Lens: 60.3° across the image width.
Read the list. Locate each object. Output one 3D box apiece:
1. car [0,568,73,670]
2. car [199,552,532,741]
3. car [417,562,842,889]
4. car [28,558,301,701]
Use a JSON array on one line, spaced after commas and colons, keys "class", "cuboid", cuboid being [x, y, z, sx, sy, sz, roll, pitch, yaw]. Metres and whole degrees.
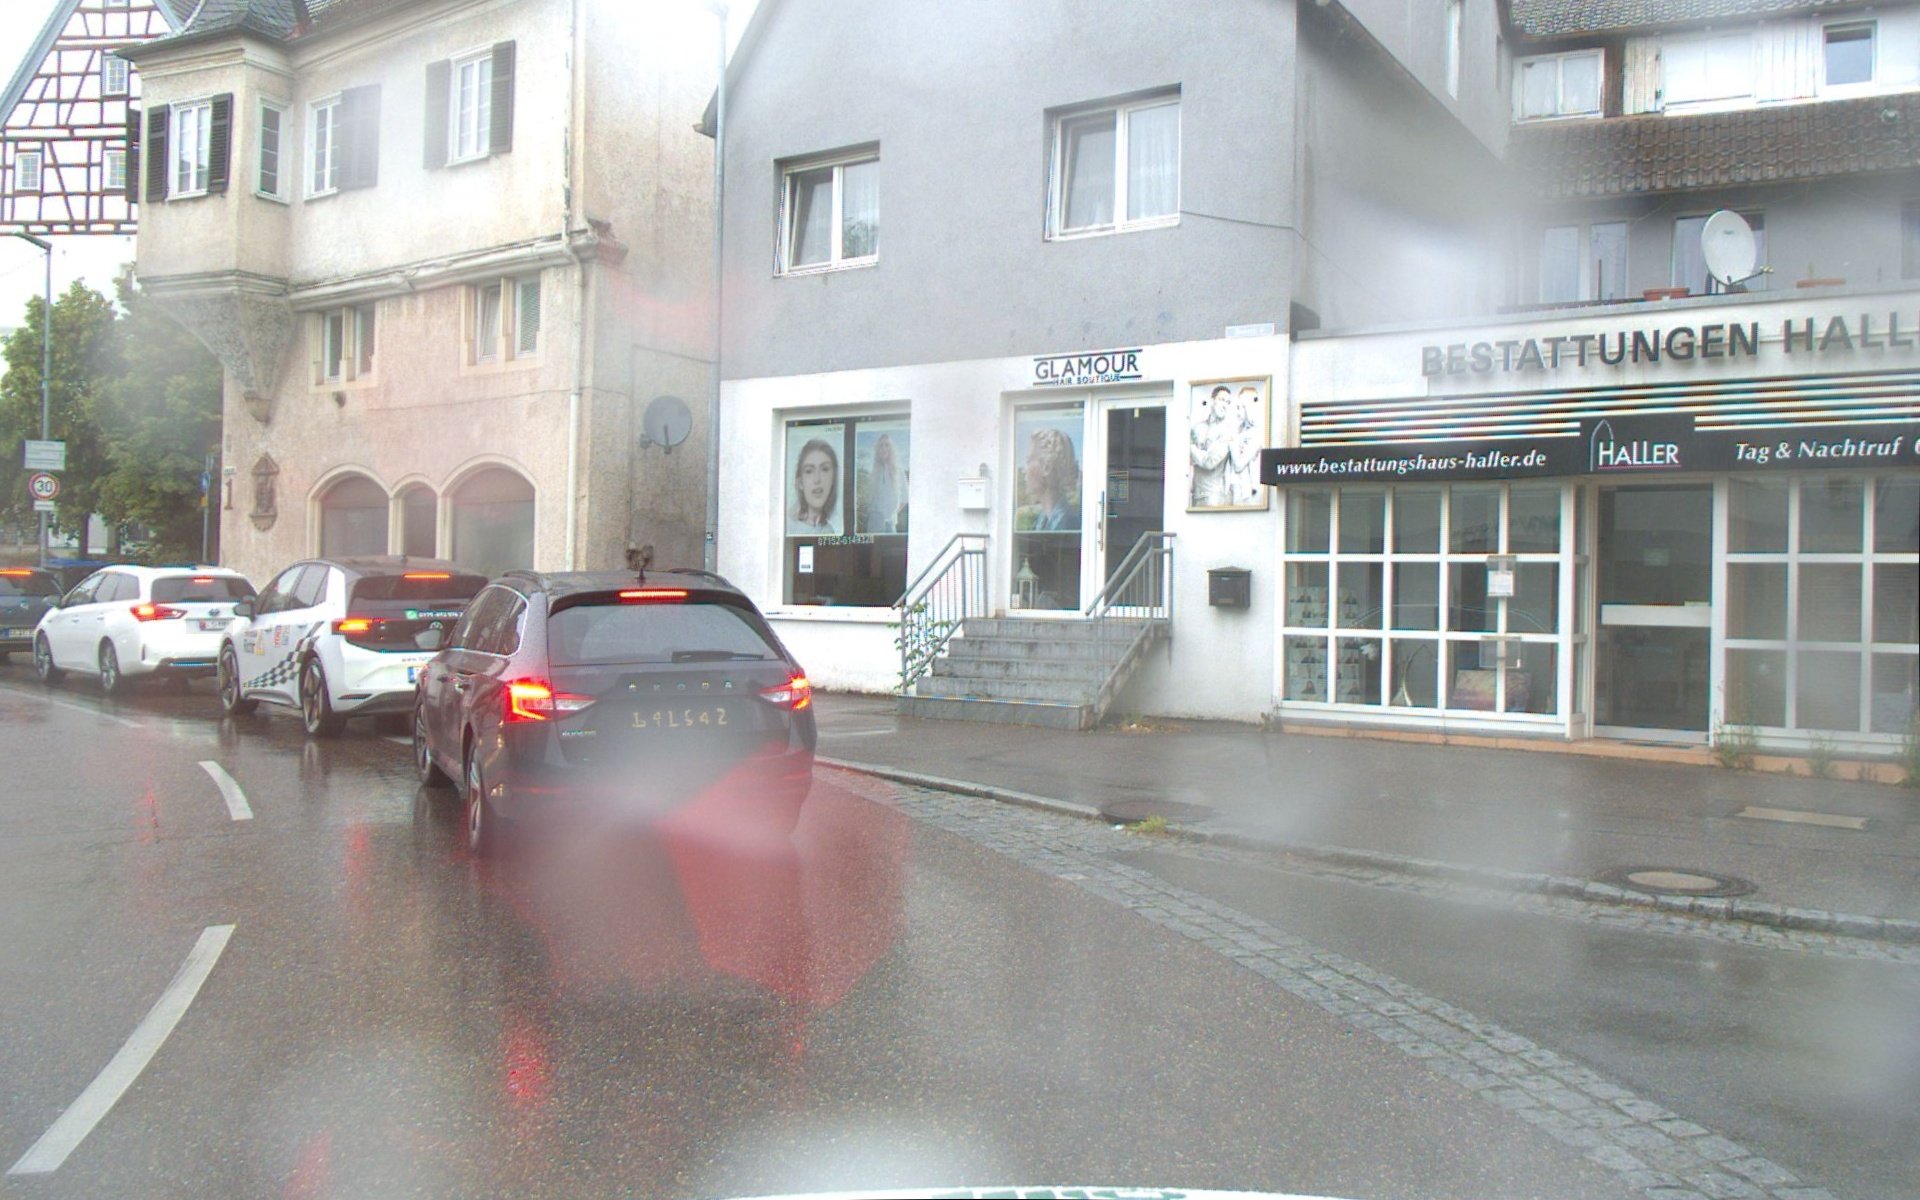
[{"class": "car", "cuboid": [-14.891, 0.245, 24.956, 3.701, 1.385, 1.514, 2, 3, 42]}, {"class": "car", "cuboid": [-5.774, 0.340, 15.768, 1.777, 1.543, 4.183, -1, 1, -38]}, {"class": "car", "cuboid": [-2.193, 0.532, 9.950, 1.709, 1.475, 4.212, 0, 2, -23]}, {"class": "car", "cuboid": [-9.740, 0.274, 20.114, 1.778, 1.490, 4.096, -1, 3, -45]}]
